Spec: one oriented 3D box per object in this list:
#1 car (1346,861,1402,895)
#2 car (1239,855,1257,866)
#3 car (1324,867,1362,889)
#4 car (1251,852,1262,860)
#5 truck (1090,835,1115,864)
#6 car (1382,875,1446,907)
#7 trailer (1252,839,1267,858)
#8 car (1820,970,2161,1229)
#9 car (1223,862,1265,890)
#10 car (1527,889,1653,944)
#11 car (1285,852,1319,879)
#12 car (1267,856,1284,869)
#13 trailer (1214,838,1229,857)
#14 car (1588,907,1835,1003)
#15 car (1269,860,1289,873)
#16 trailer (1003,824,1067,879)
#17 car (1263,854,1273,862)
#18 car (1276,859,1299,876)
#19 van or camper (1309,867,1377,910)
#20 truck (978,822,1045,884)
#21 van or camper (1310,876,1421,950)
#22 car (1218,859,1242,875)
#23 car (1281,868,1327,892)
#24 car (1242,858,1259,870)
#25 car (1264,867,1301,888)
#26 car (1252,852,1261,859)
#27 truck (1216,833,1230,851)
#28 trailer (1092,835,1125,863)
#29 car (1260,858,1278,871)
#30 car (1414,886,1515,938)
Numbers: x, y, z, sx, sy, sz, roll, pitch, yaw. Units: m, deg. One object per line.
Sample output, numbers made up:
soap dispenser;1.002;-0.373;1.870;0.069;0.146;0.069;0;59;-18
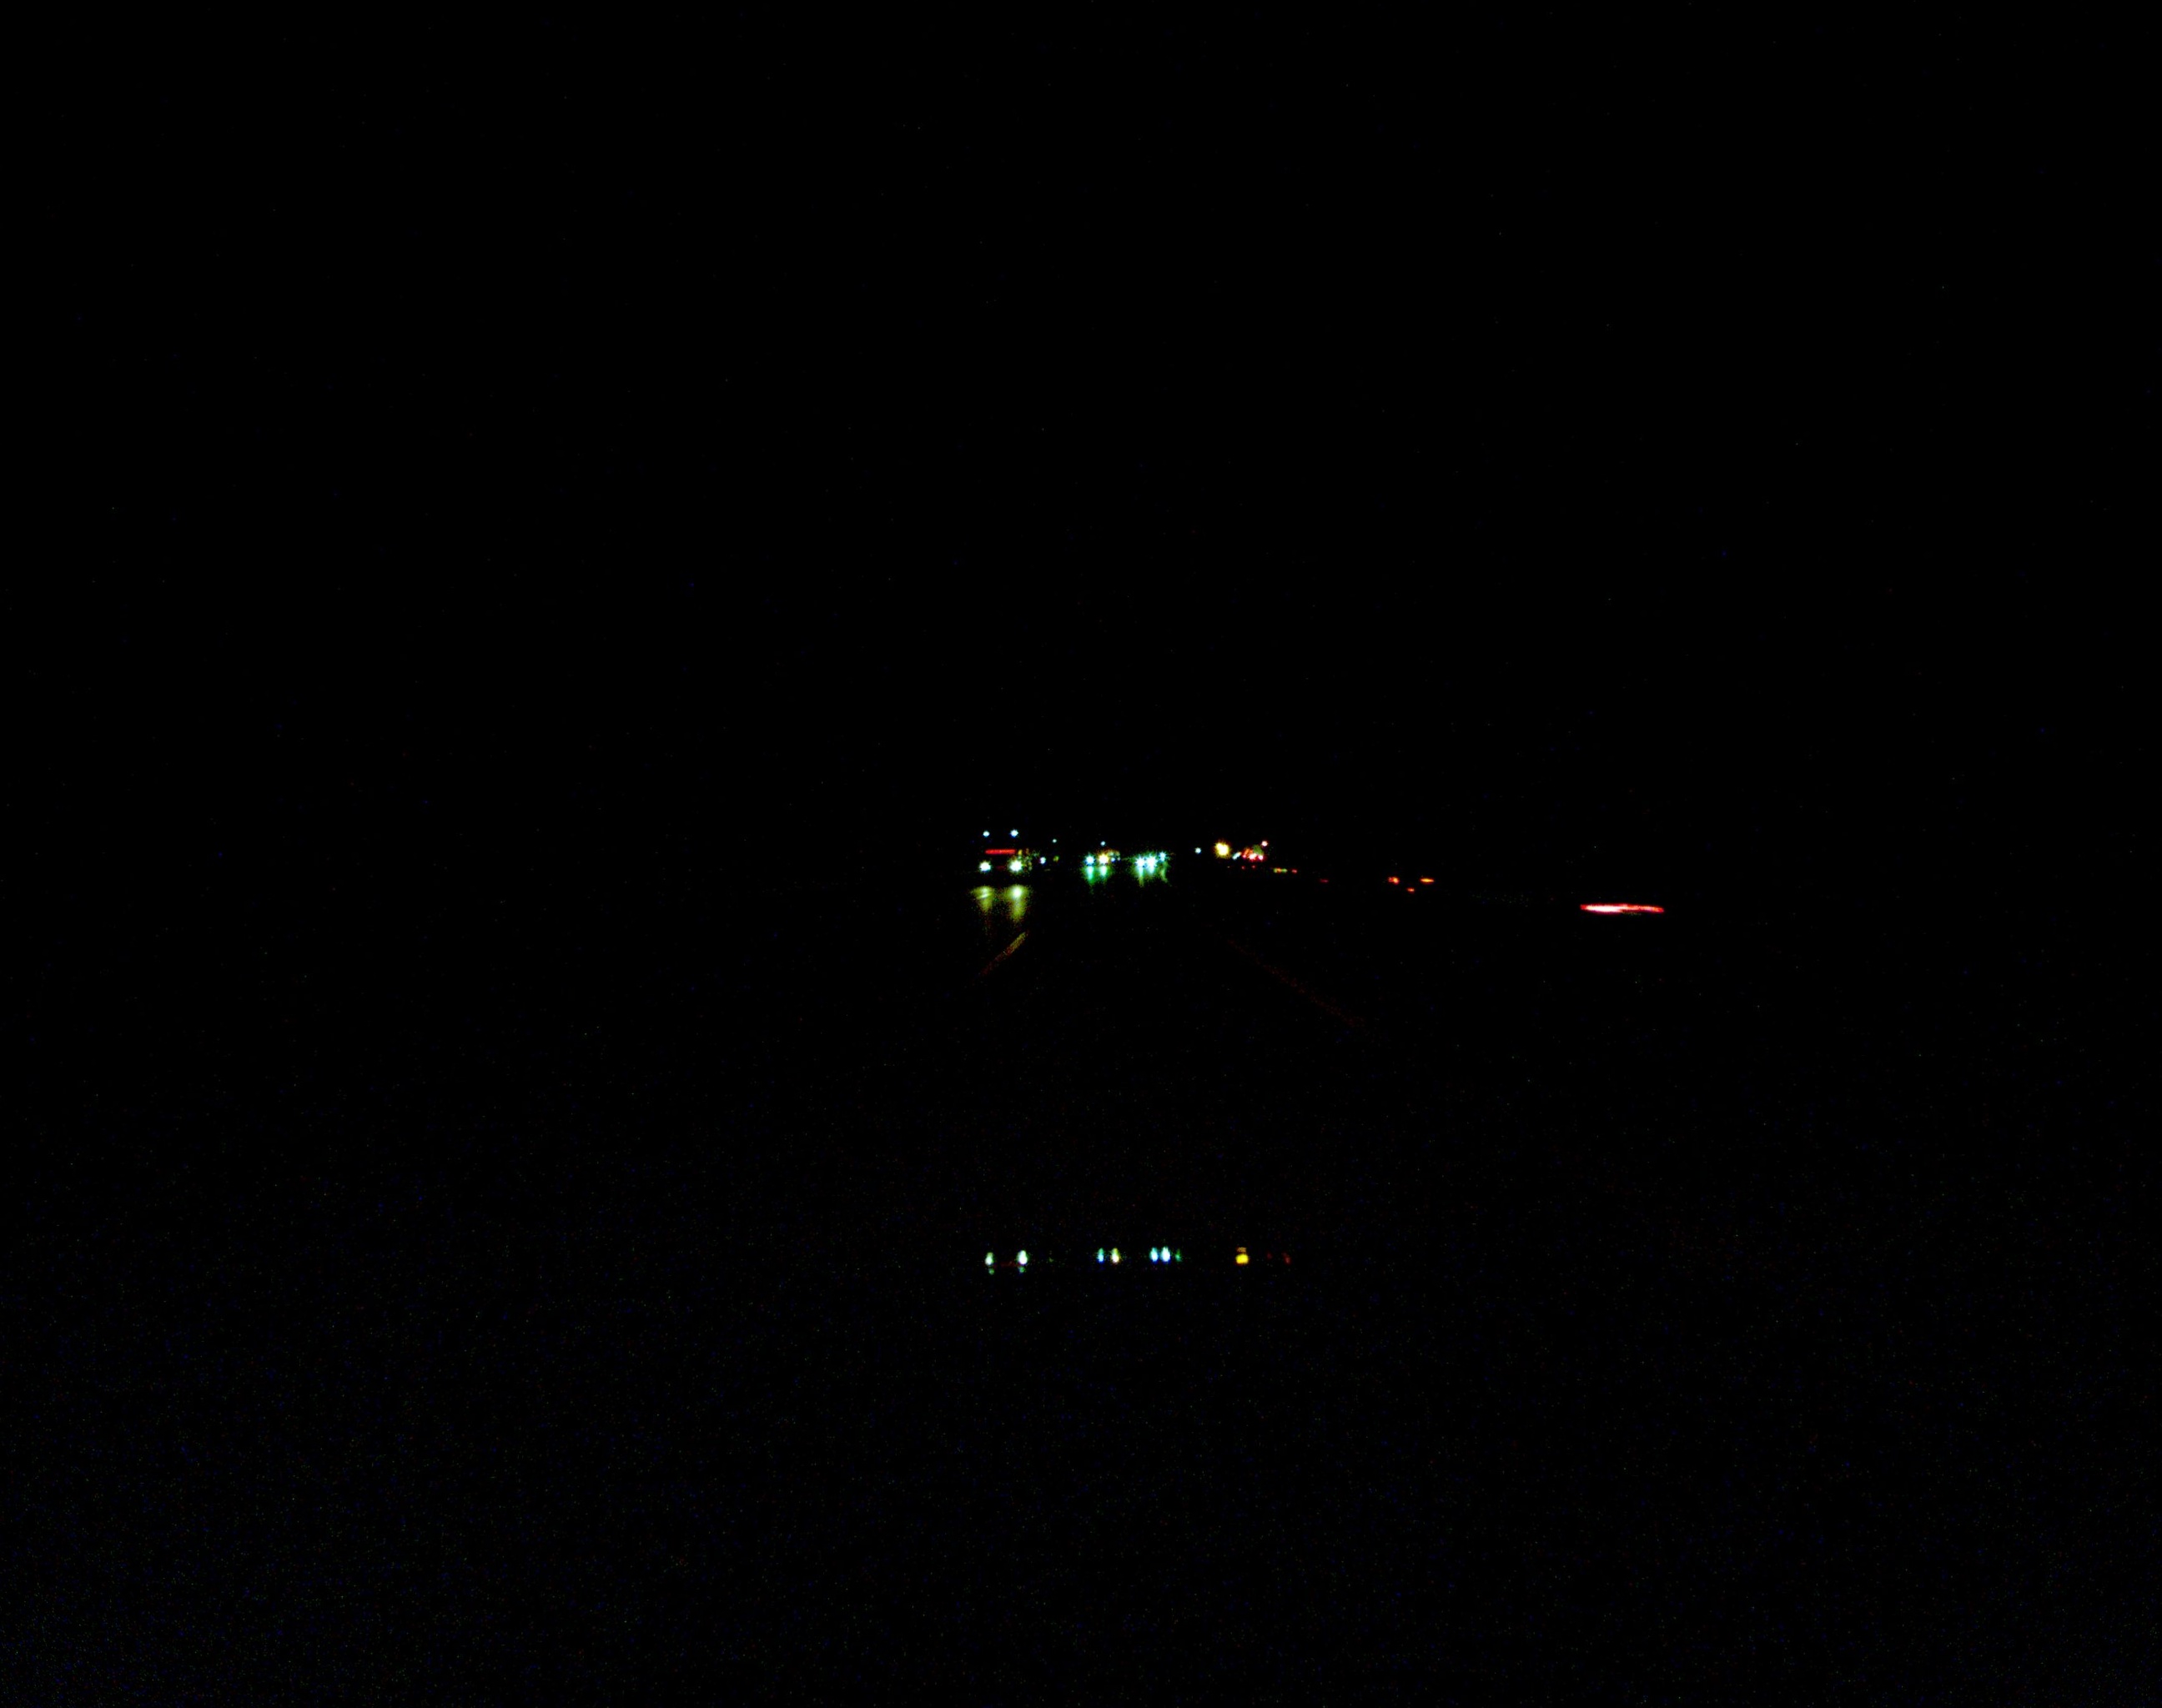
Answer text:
car;18.950;1.501;49.424;2.143;2.042;5.115;0;0;6
car;21.631;0.835;98.623;1.820;1.460;4.281;-1;0;6
car;20.226;1.802;58.780;1.820;1.548;4.281;-1;0;6
car;33.692;0.406;145.552;1.708;1.368;4.005;-1;1;18
truck;3.061;-0.635;109.088;2.898;3.949;4.003;-2;0;9
car;17.355;1.893;39.776;1.841;1.433;4.001;-2;0;5
trailer;45.814;-1.436;194.495;3.153;4.290;14.824;-4;1;14
car;8.370;1.909;5.761;1.605;1.433;3.999;-1;0;-1
car;10.974;1.454;51.394;2.144;1.696;5.114;-1;0;5
car;16.347;1.950;24.649;1.604;1.433;4.001;-1;0;4
car;21.451;1.066;73.902;2.032;2.427;5.697;-2;0;5
car;26.483;1.141;103.491;1.756;1.706;4.002;-2;0;8
trailer;30.971;-1.510;167.020;2.539;3.692;10.134;-4;1;13
car;12.927;1.984;16.008;1.604;1.433;4.384;-1;0;1
car;24.349;1.543;93.623;1.826;1.449;4.002;0;1;6
trailer;-3.485;-0.175;62.078;2.880;3.908;12.893;-3;0;7
car;37.869;0.835;153.930;1.996;1.539;4.144;0;0;15
car;23.062;1.508;84.877;1.954;1.706;4.002;-1;0;8
van or camper;13.692;1.733;40.036;1.998;2.002;5.222;-1;0;3
truck;-4.615;-0.109;52.312;2.873;3.818;8.056;-3;1;6
van or camper;8.980;1.799;24.444;2.035;2.002;4.576;-1;0;3
car;14.524;1.255;74.217;1.820;1.460;4.281;-1;0;6
car;15.767;1.828;53.891;2.144;1.481;5.114;-1;0;5
car;23.374;1.343;104.790;1.906;1.445;4.714;-2;0;8
car;16.864;1.927;63.923;2.144;1.613;5.114;-1;0;5
car;42.049;0.322;182.017;1.997;1.482;4.407;-2;0;12
truck;32.335;-2.794;173.387;2.607;3.721;6.761;-4;1;13
trailer;4.416;-0.743;117.235;2.838;3.951;15.774;-2;0;10
car;27.868;1.544;112.873;2.078;1.625;4.923;-2;0;8
car;12.767;1.878;25.539;1.604;1.433;4.001;-1;0;4
